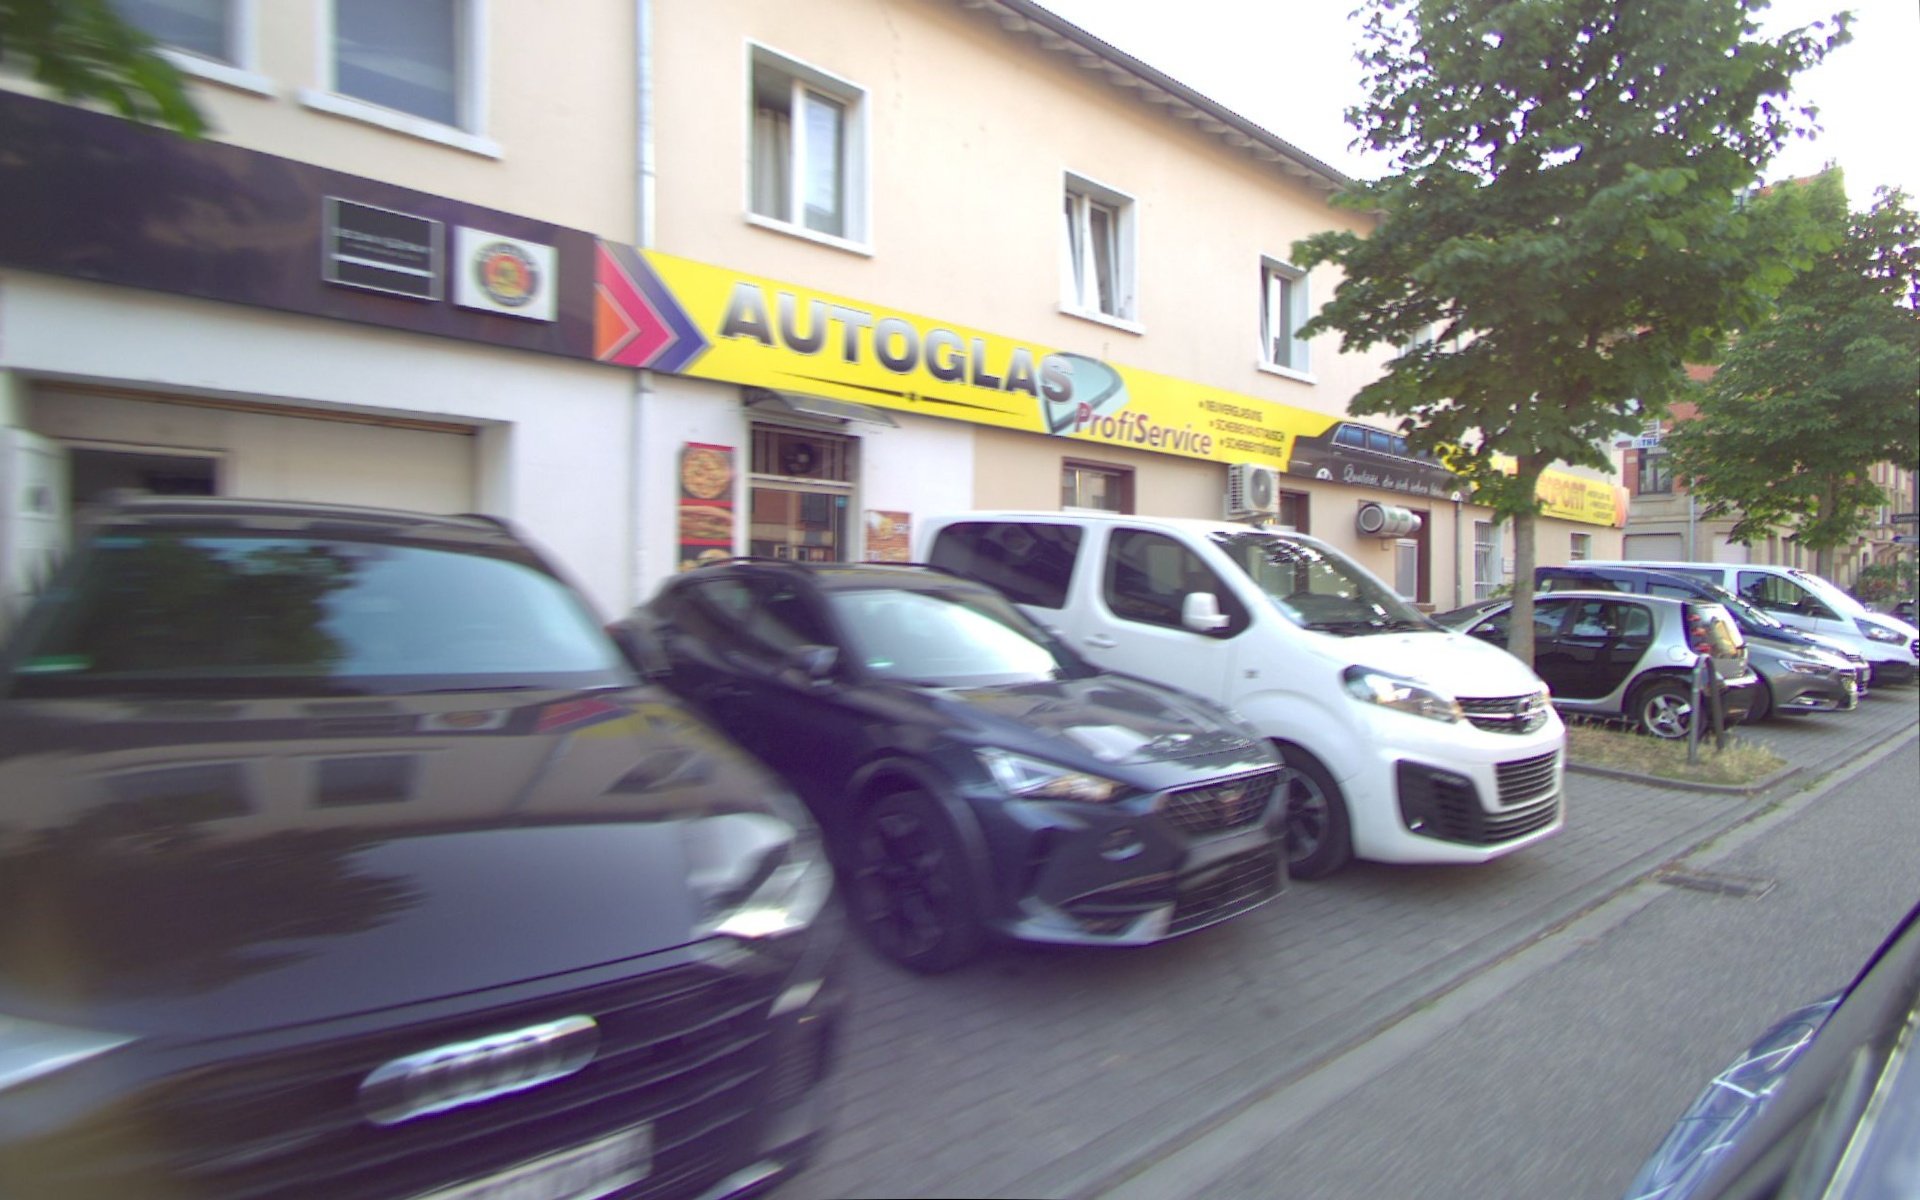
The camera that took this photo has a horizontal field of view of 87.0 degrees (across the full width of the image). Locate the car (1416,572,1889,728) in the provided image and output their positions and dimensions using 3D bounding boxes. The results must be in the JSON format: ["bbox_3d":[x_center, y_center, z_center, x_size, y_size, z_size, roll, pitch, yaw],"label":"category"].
[{"bbox_3d":[8.755,0.480,13.188,1.965,1.514,4.731,0,3,-41],"label":"car"}]

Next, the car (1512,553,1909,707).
[{"bbox_3d":[10.889,0.298,14.988,1.963,1.881,4.305,0,3,-37],"label":"car"}]

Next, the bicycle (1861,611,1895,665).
[{"bbox_3d":[18.554,0.748,20.448,1.754,1.036,0.357,0,0,-43],"label":"bicycle"}]

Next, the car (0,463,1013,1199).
[{"bbox_3d":[-2.154,0.481,3.448,1.964,1.651,4.708,0,4,-39],"label":"car"}]

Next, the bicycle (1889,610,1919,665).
[{"bbox_3d":[18.845,0.722,20.145,1.796,1.036,0.357,0,0,-43],"label":"bicycle"}]

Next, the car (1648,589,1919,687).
[{"bbox_3d":[15.025,0.612,18.244,1.691,1.586,4.040,0,0,-40],"label":"car"}]

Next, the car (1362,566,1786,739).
[{"bbox_3d":[6.831,0.448,11.565,1.652,1.515,3.792,0,3,-42],"label":"car"}]

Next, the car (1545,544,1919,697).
[{"bbox_3d":[12.767,0.236,16.699,2.111,2.127,4.975,-1,1,-36],"label":"car"}]

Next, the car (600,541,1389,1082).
[{"bbox_3d":[-0.209,0.558,5.217,1.858,1.513,3.999,0,5,-39],"label":"car"}]

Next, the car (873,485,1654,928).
[{"bbox_3d":[1.562,0.266,6.764,1.976,1.883,4.601,0,5,-39],"label":"car"}]

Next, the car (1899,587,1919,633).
[{"bbox_3d":[34.190,0.335,35.284,3.932,1.543,1.798,0,1,-42],"label":"car"}]
